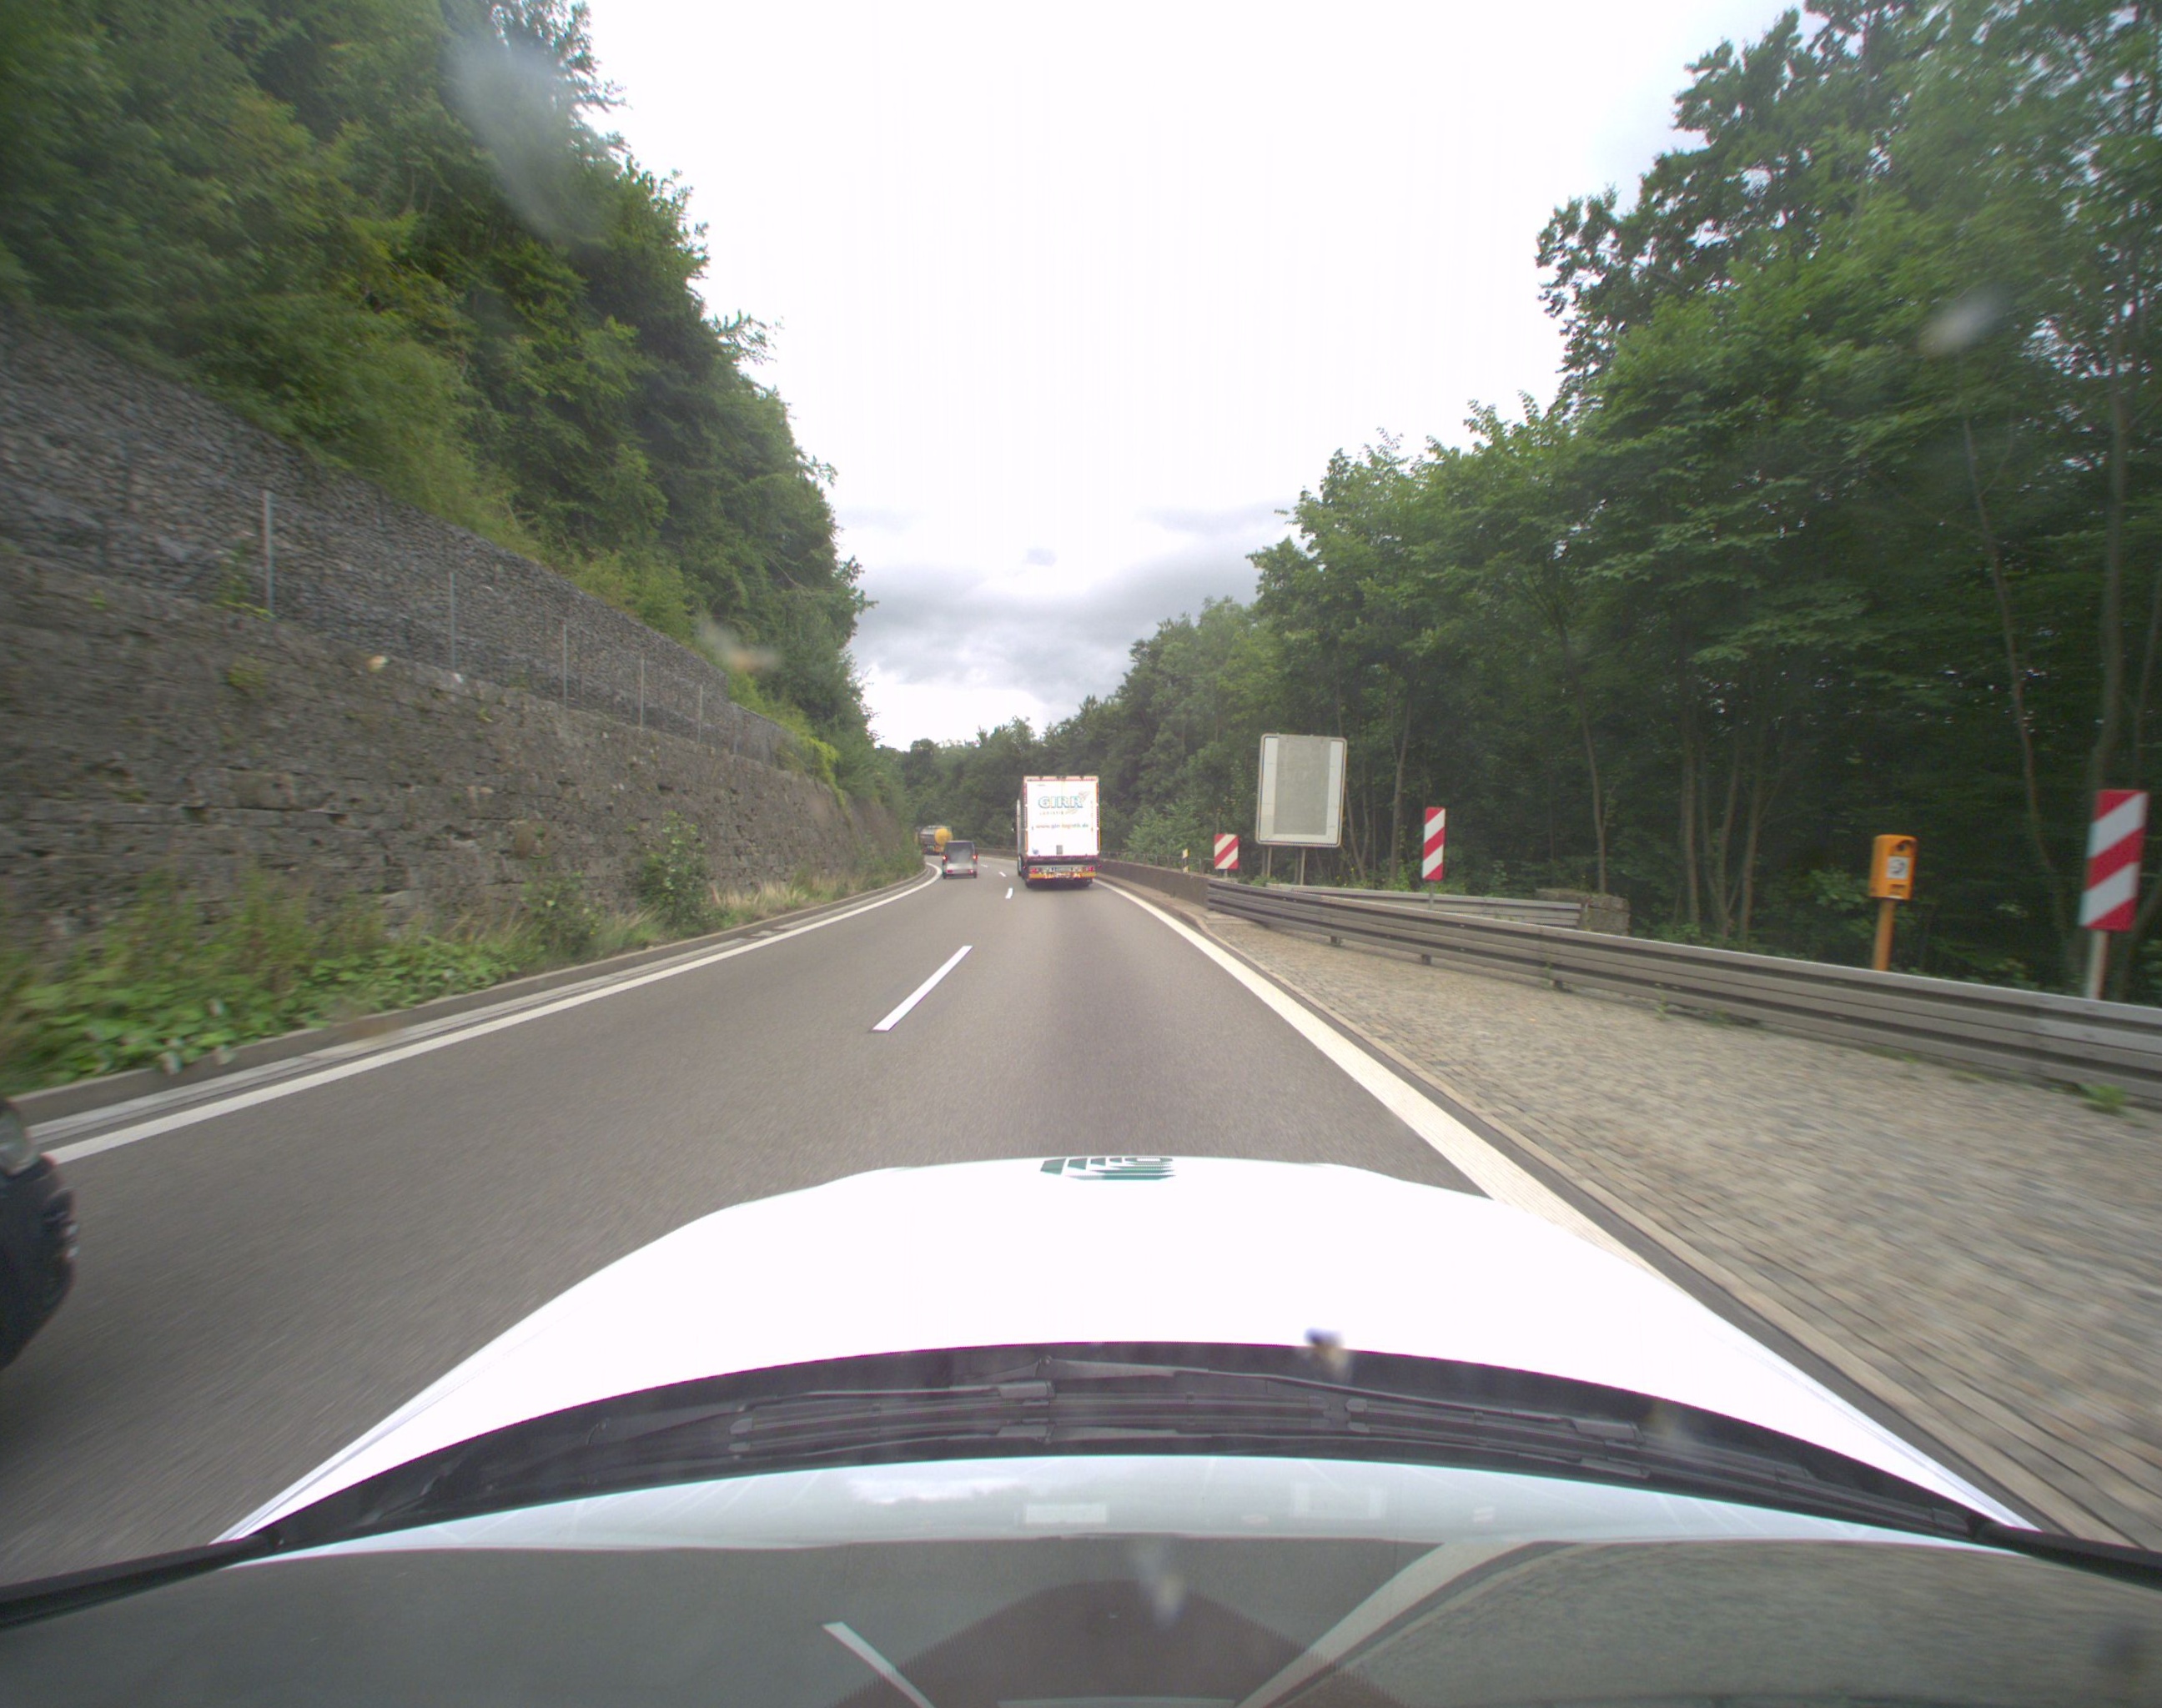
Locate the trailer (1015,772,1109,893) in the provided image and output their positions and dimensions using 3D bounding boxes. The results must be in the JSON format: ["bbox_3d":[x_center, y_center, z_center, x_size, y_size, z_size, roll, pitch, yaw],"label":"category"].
[{"bbox_3d":[-1.109,-0.914,33.377,3.052,3.985,12.118,2,2,-5],"label":"trailer"}]

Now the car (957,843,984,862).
[{"bbox_3d":[-10.061,-0.152,73.915,1.997,1.662,3.981,2,0,-15],"label":"car"}]

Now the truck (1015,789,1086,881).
[{"bbox_3d":[-1.646,-0.968,39.806,3.052,3.985,7.176,2,2,-5],"label":"truck"}]

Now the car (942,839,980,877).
[{"bbox_3d":[-6.820,0.205,46.522,1.992,2.013,5.525,-1,0,-8],"label":"car"}]

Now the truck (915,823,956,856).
[{"bbox_3d":[-19.279,-1.839,106.983,3.067,3.986,13.608,-1,1,-19],"label":"truck"}]

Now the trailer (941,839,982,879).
[{"bbox_3d":[-6.165,0.250,42.090,1.970,1.939,3.420,-1,0,-8],"label":"trailer"}]
